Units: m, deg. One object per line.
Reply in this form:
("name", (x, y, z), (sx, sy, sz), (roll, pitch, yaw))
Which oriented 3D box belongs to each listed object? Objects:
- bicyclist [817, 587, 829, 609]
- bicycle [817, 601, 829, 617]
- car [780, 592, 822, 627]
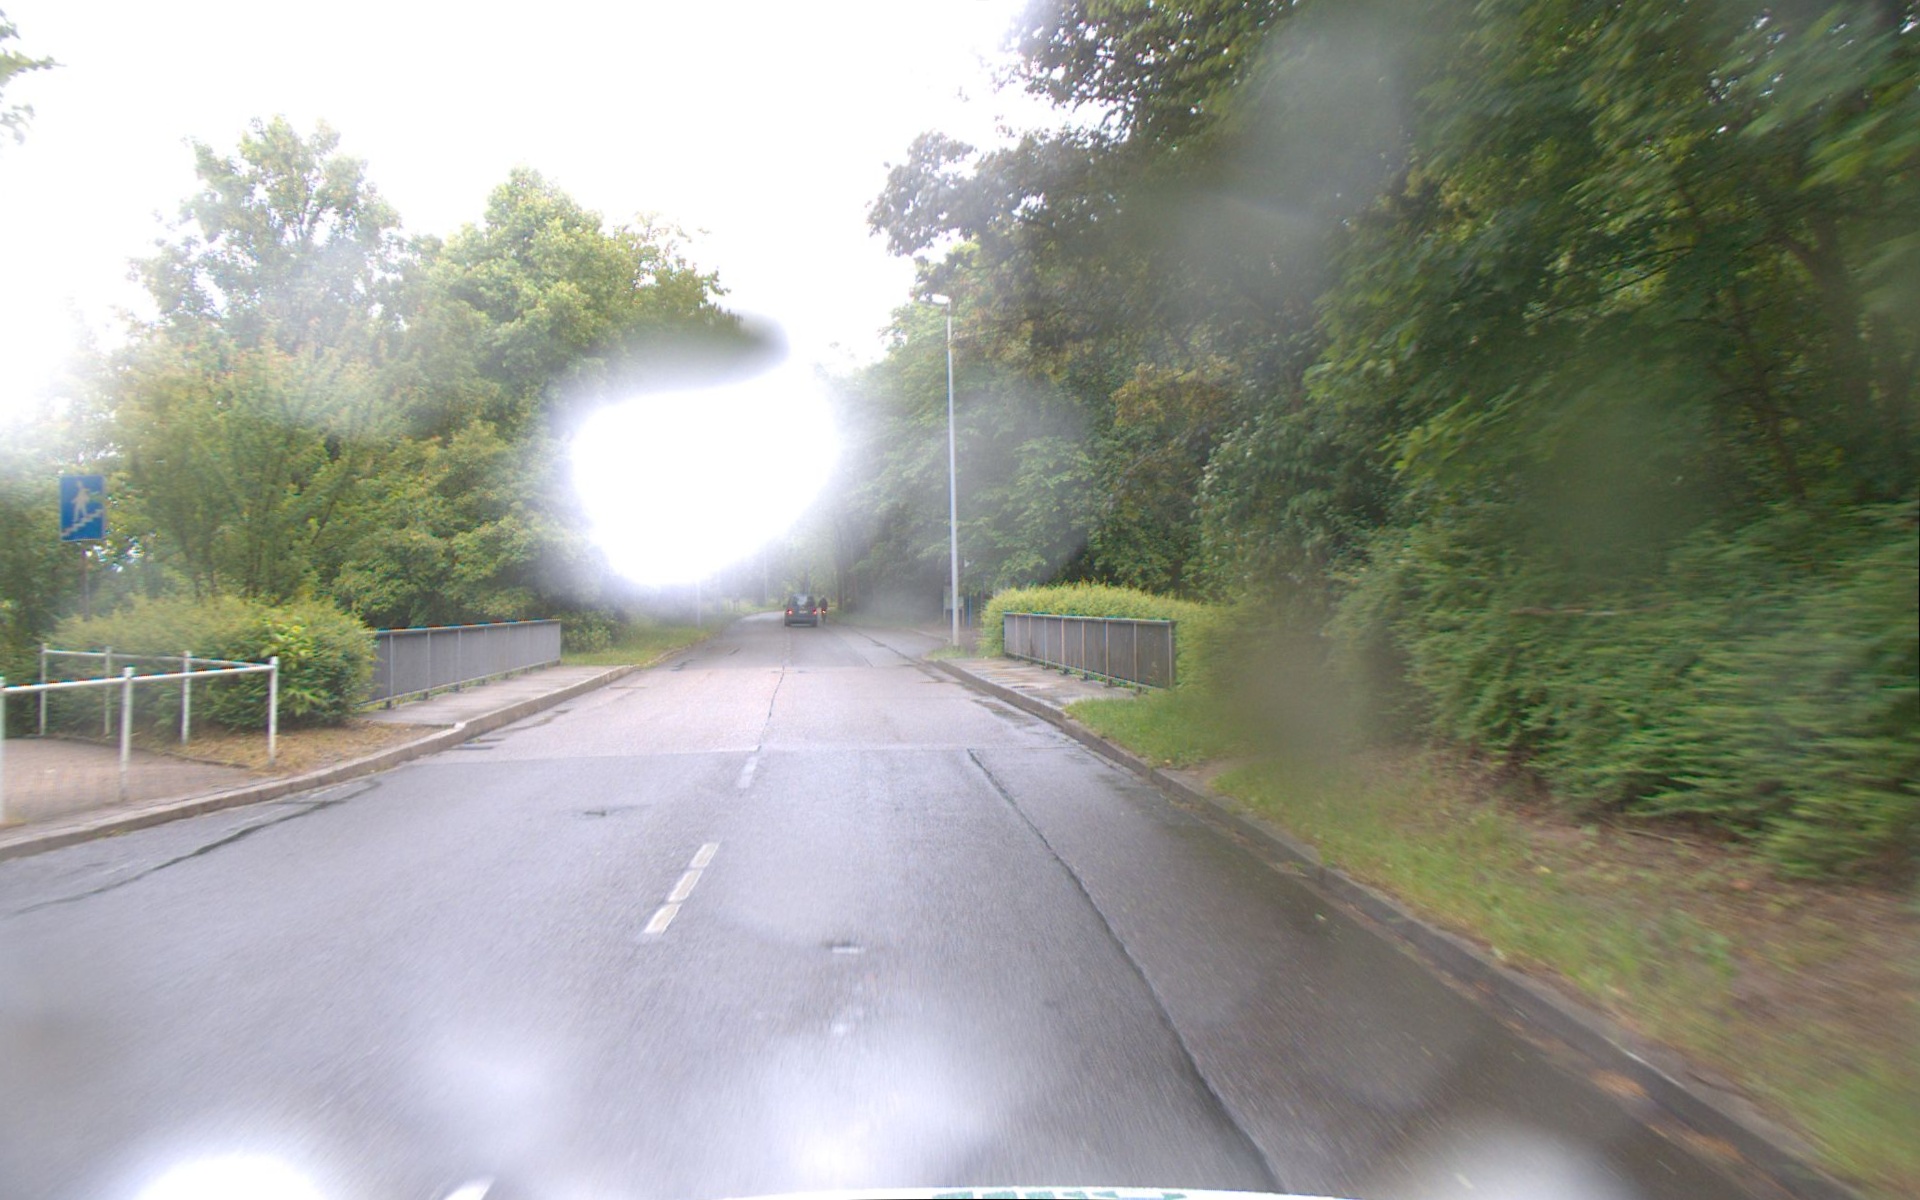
("bicyclist", (-9.046, -0.151, 109.158), (0.715, 1.435, 0.972), (0, 0, -3))
("bicycle", (-9.057, 0.576, 109.202), (0.715, 0.991, 2.171), (0, 0, -3))
("car", (-9.269, 0.521, 96.096), (1.951, 1.959, 3.987), (-1, 0, -13))
